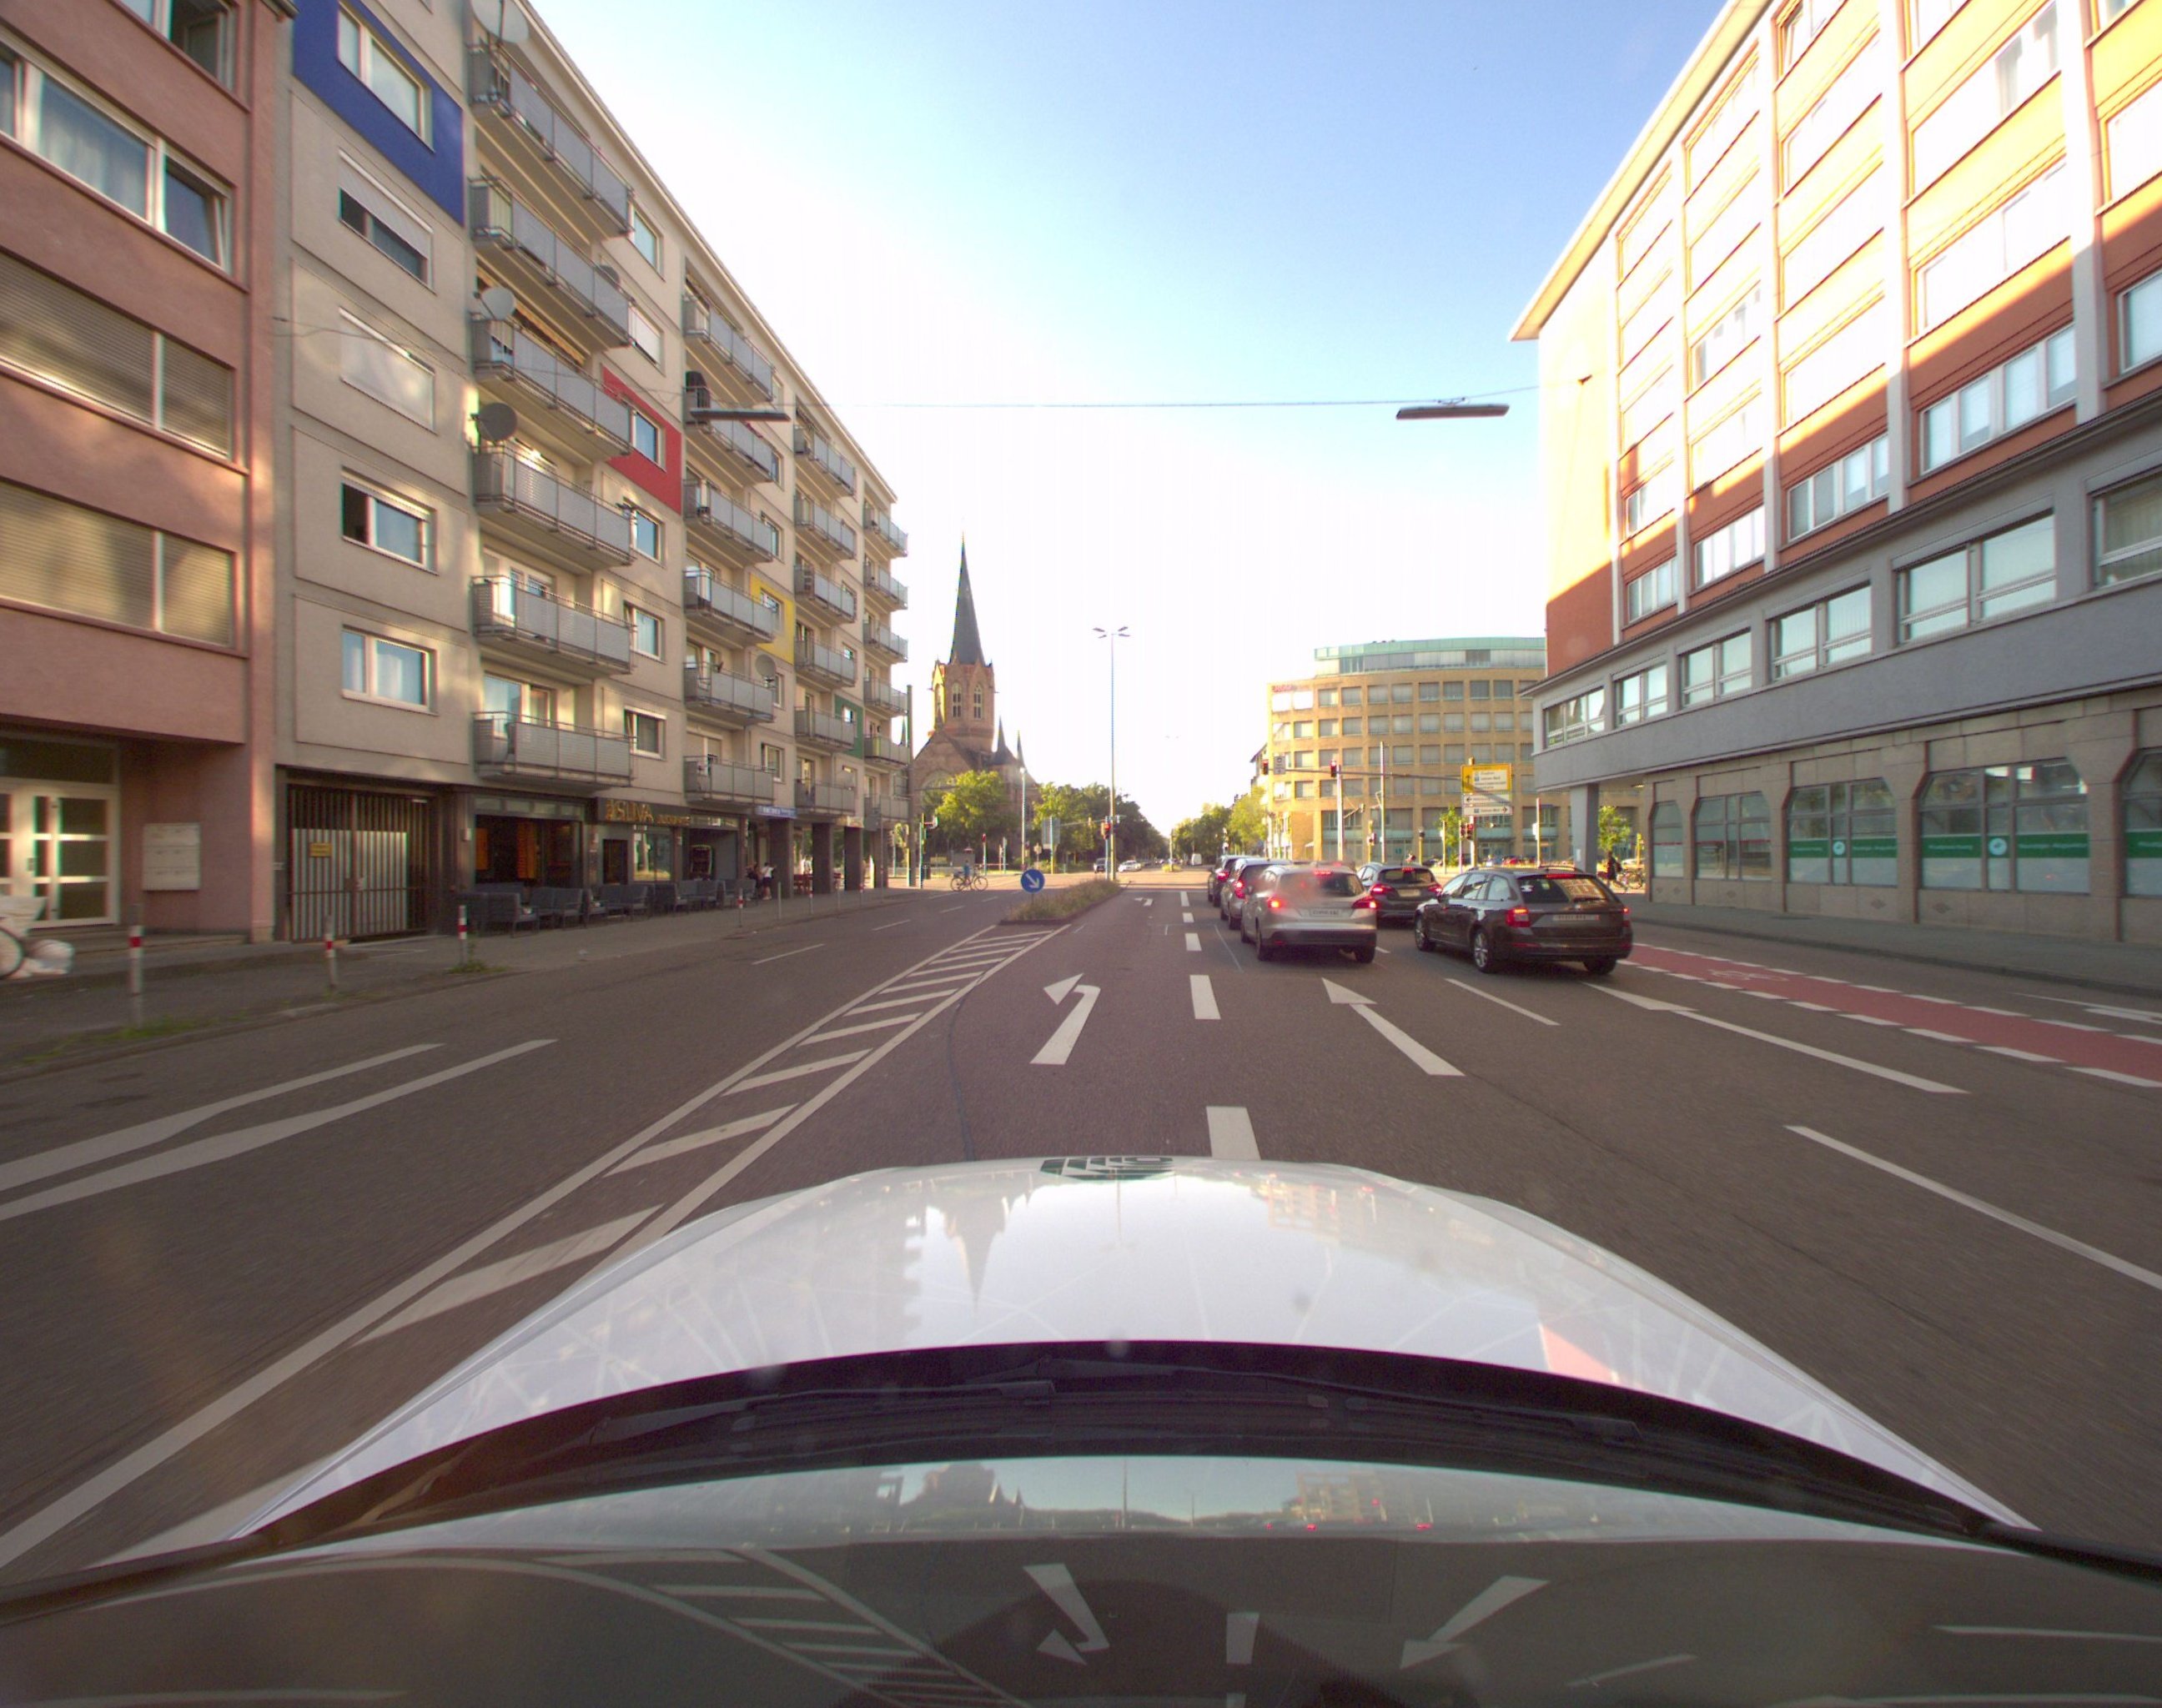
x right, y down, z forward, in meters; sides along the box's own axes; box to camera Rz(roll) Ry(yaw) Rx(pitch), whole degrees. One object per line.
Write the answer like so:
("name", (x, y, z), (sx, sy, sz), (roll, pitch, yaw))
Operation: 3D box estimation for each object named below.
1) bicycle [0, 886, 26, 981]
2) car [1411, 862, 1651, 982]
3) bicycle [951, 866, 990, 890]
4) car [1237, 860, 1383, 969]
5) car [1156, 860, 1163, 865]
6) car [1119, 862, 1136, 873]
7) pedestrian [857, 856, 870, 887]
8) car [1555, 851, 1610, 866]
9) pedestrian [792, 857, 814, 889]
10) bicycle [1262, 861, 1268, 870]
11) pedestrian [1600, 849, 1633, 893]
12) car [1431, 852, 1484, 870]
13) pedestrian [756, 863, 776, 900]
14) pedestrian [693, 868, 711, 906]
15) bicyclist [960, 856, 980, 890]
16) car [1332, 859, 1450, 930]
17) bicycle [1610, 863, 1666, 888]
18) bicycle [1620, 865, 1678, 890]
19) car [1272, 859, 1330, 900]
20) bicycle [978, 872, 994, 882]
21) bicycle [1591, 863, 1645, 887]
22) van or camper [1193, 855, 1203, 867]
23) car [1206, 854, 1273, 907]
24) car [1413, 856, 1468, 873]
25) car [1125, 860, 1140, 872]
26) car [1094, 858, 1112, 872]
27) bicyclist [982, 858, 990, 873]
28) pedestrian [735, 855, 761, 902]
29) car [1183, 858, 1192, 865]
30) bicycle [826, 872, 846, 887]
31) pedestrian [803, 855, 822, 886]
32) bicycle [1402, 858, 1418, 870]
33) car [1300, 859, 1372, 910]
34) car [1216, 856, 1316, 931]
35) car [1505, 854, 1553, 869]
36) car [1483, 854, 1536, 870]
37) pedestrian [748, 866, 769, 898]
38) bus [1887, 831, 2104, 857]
("bicycle", (-12.727, 0.874, 8.800), (1.669, 1.041, 0.548), (1, -1, -9))
("car", (6.488, 0.881, 12.319), (1.699, 1.457, 4.165), (-1, 0, 6))
("bicycle", (-5.553, 1.203, 40.988), (1.819, 1.188, 0.735), (-1, 0, 5))
("car", (3.664, 0.866, 13.750), (1.699, 1.510, 4.316), (0, 0, 6))
("car", (22.471, 2.371, 233.779), (1.770, 1.449, 4.008), (-1, 0, 7))
("car", (5.621, 1.589, 98.342), (1.770, 1.236, 4.008), (-1, 0, 7))
("pedestrian", (-12.447, 0.982, 46.647), (0.549, 1.769, 0.470), (-1, -1, 8))
("car", (47.364, 0.446, 76.970), (3.969, 1.346, 2.002), (-1, -1, 4))
("pedestrian", (-15.264, 1.032, 44.673), (0.916, 1.758, 0.677), (-1, -1, 14))
("bicycle", (25.764, 1.637, 114.062), (0.768, 1.196, 2.474), (-1, 0, 14))
("pedestrian", (22.126, 0.703, 33.637), (0.938, 1.768, 0.671), (-1, 0, 11))
("car", (35.977, 0.669, 77.928), (4.205, 1.614, 2.004), (-1, 0, 7))
("pedestrian", (-12.021, 1.031, 31.076), (0.479, 1.384, 0.484), (-1, -1, 26))
("pedestrian", (-12.388, 1.080, 26.644), (0.524, 1.203, 0.548), (0, -1, -26))
("bicyclist", (-5.628, 0.956, 41.320), (0.778, 1.660, 0.902), (-1, 0, 5))
("car", (7.336, 0.889, 19.670), (1.642, 1.484, 4.247), (0, 0, 6))
("bicycle", (26.338, 1.015, 38.517), (2.076, 1.116, 0.743), (-1, -1, 5))
("bicycle", (26.020, 1.075, 37.349), (2.076, 1.116, 0.743), (-1, -1, 5))
("car", (8.348, 0.923, 31.179), (1.576, 1.447, 3.654), (1, 0, 6))
("bicycle", (-10.857, 2.612, 92.820), (1.662, 1.139, 0.650), (-1, 0, 14))
("bicycle", (26.417, 1.021, 40.070), (2.076, 1.116, 0.743), (-1, -1, 5))
("van or camper", (25.305, 1.519, 176.399), (1.982, 2.640, 5.362), (-1, 0, 8))
("car", (5.223, 0.824, 27.287), (1.775, 1.632, 4.485), (-1, 0, 5))
("car", (35.808, 1.050, 81.253), (4.627, 1.598, 2.002), (-1, 0, 3))
("car", (6.632, 1.490, 104.859), (1.770, 1.464, 4.008), (-1, 0, 7))
("car", (2.680, 1.372, 99.195), (1.770, 1.647, 4.008), (-1, 0, 7))
("bicyclist", (-10.836, 1.345, 92.832), (0.774, 1.694, 0.643), (-1, -1, 14))
("pedestrian", (-12.448, 0.902, 30.443), (0.784, 1.701, 0.554), (0, -1, -40))
("car", (27.238, 1.941, 207.503), (1.985, 1.592, 4.003), (-1, 0, 3))
("bicycle", (-14.465, 1.498, 48.105), (0.494, 0.840, 1.706), (-1, 0, 5))
("pedestrian", (-15.020, 0.926, 45.548), (0.748, 1.709, 0.677), (-1, -1, 14))
("bicycle", (33.703, 1.022, 83.398), (1.509, 1.172, 0.477), (-1, 0, 13))
("car", (8.016, 0.919, 25.861), (1.482, 1.505, 3.484), (-1, 0, 5))
("car", (4.224, 0.849, 19.097), (1.795, 1.568, 3.624), (-1, 0, 5))
("car", (42.372, 0.707, 77.120), (3.589, 1.342, 1.725), (-1, 0, 6))
("car", (42.212, 0.749, 80.303), (4.211, 1.502, 2.002), (-1, 0, 3))
("pedestrian", (-12.873, 1.107, 32.524), (0.551, 1.239, 0.533), (-1, -1, 20))
("bus", (91.542, -0.995, 81.762), (18.089, 2.437, 2.425), (-1, 0, 3))
